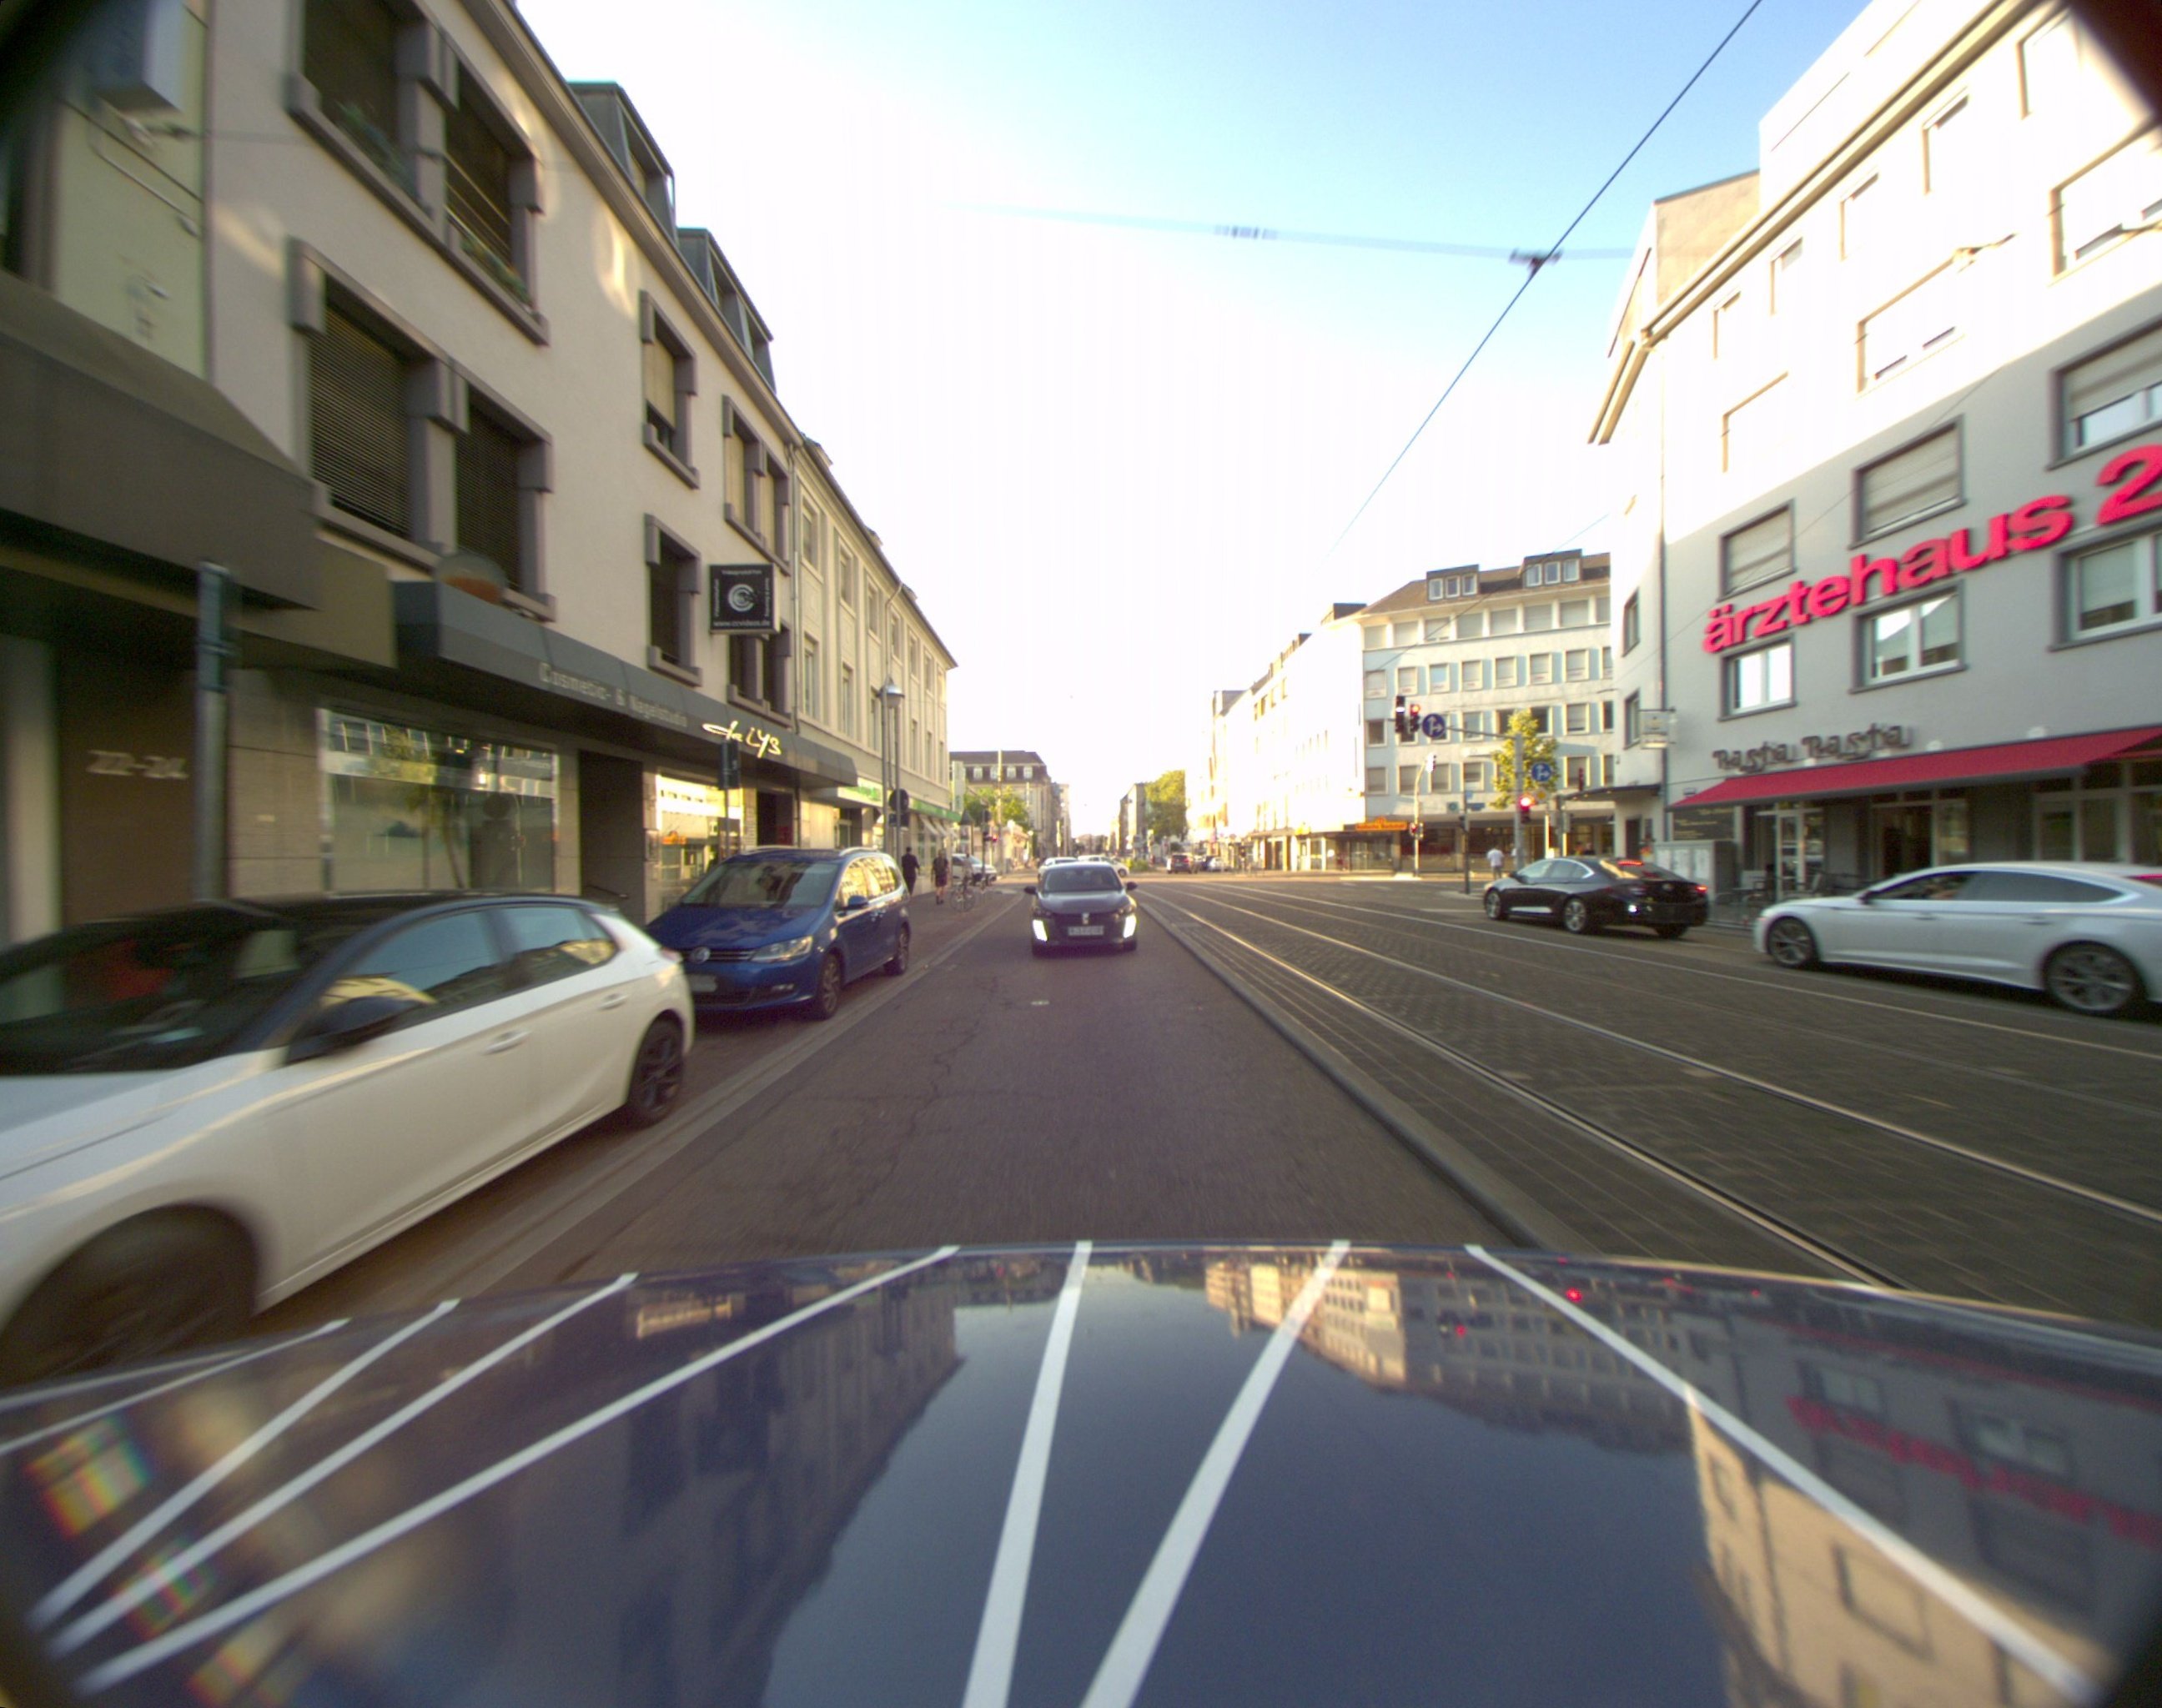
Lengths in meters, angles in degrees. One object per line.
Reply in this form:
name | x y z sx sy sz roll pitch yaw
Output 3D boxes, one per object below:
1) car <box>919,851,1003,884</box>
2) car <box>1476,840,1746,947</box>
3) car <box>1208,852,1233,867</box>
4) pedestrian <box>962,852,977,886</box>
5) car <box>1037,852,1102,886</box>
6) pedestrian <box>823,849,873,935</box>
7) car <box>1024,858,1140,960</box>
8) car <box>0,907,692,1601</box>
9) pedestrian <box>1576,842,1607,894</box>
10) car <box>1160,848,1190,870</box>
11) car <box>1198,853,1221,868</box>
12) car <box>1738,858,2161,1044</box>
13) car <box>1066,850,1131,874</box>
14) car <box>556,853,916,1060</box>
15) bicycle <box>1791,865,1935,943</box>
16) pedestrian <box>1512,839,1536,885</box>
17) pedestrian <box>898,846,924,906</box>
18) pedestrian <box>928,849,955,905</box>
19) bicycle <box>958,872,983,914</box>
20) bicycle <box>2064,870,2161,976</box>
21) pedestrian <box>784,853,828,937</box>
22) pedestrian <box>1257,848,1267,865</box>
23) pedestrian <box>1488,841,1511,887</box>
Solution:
car | -6.796 0.747 43.142 4.277 1.787 1.830 -1 0 12
car | 9.877 0.628 14.773 1.998 1.717 4.727 1 0 1
car | 12.717 0.496 69.567 1.636 1.246 3.389 -3 0 1
pedestrian | -5.800 0.789 39.695 0.694 1.732 0.653 -1 1 -4
car | -0.623 0.721 36.258 1.830 1.463 3.979 -3 -1 -20
pedestrian | -5.018 0.800 16.439 0.768 1.795 0.928 1 1 2
car | 0.103 0.893 14.127 1.750 1.434 3.906 -4 1 2
car | -3.429 1.047 2.960 1.800 1.424 3.887 0 0 1
pedestrian | 16.681 0.461 24.828 0.712 1.667 0.704 -1 1 24
car | 7.460 0.404 60.627 1.827 1.688 4.259 -1 0 1
car | 12.474 0.611 74.135 1.636 1.345 3.389 -3 0 1
car | 9.796 0.821 7.837 1.998 1.444 4.655 1 1 0
car | 1.139 0.533 50.919 3.988 1.463 1.717 -1 1 -17
car | -3.417 0.863 8.712 1.998 1.717 4.576 1 0 0
bicycle | 13.528 0.850 13.168 1.895 1.204 0.553 -3 1 0
pedestrian | 17.074 0.312 29.315 0.637 1.769 0.601 -1 1 13
pedestrian | -5.569 0.708 24.867 0.663 1.916 0.879 0 1 -1
pedestrian | -4.588 0.757 25.075 0.739 1.818 0.850 0 1 -1
bicycle | -3.242 1.128 22.391 0.535 1.140 1.490 -1 1 -2
bicycle | 13.858 0.829 9.599 2.117 1.217 0.553 -3 1 0
pedestrian | -5.716 0.833 15.818 0.651 1.708 0.678 1 1 1
pedestrian | 16.366 0.205 68.767 0.544 1.463 0.624 -4 0 -16
pedestrian | 16.252 0.389 29.496 0.637 1.734 0.669 -1 1 15
